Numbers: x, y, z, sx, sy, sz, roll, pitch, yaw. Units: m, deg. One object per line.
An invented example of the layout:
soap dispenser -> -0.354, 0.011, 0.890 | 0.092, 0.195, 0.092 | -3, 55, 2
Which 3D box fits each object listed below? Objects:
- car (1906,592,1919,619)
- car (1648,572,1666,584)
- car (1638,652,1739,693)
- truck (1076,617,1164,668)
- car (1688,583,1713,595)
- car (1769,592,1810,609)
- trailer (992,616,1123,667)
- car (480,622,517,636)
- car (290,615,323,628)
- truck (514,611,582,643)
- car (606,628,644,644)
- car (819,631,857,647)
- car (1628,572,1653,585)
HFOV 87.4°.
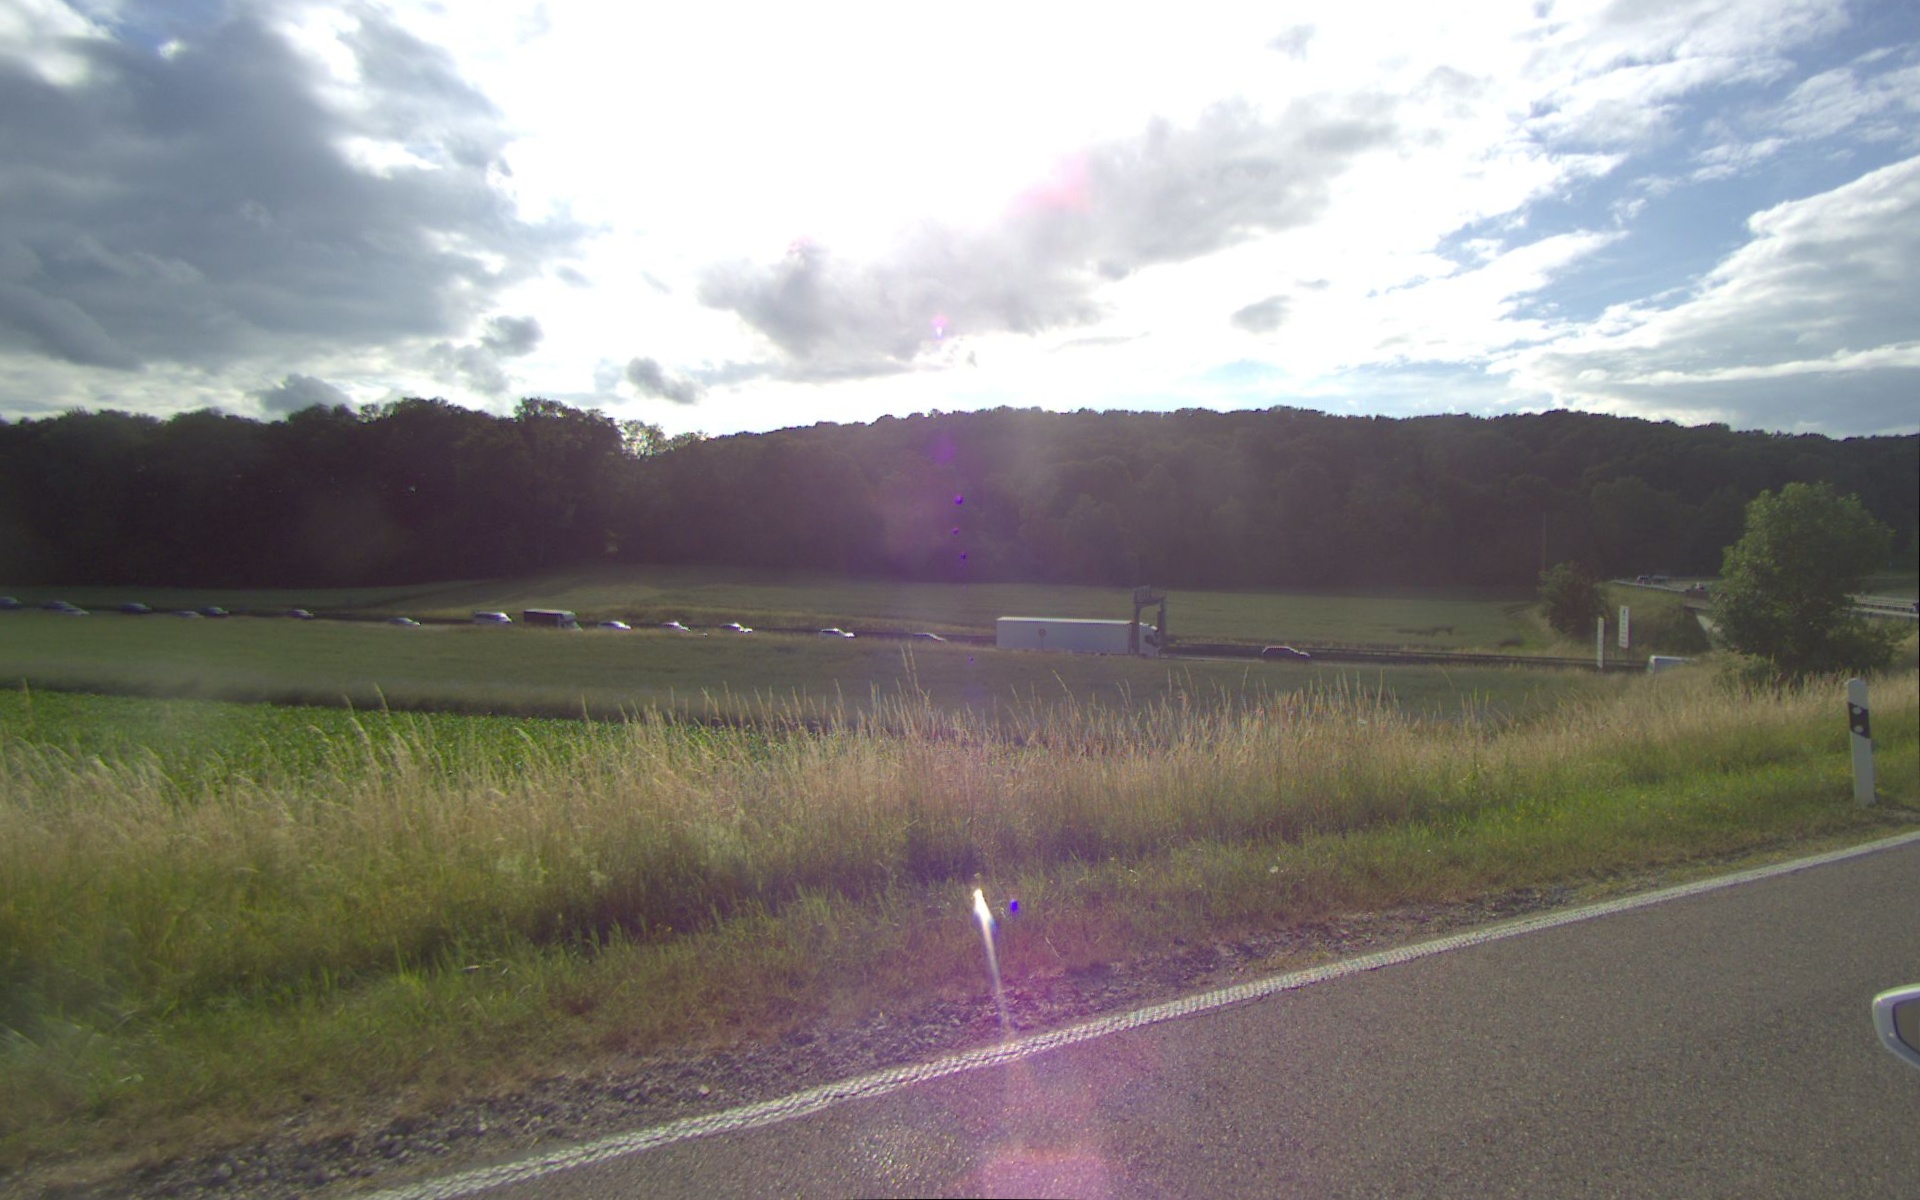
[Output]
car -> 57.791, 0.363, 59.324 | 1.834, 1.590, 3.992 | 2, 2, 30
car -> 119.726, -3.761, 172.574 | 1.963, 1.795, 3.995 | -3, -1, 27
car -> 57.029, 5.633, 78.811 | 6.010, 2.620, 2.369 | 0, 6, 28
truck -> 15.503, 4.040, 97.297 | 7.898, 4.530, 3.028 | 0, 5, 21
car -> 79.260, -1.132, 107.565 | 1.448, 1.243, 3.297 | 1, 1, 23
car -> 70.873, 0.020, 85.870 | 1.655, 1.395, 3.997 | 1, 2, 23
trailer -> 9.616, 4.025, 99.538 | 12.478, 4.530, 3.030 | 0, 5, 21
car -> -59.778, 3.744, 130.105 | 3.920, 1.750, 2.001 | 1, -2, 19
car -> -90.789, 2.913, 139.530 | 3.920, 1.608, 1.803 | 2, 1, 19
truck -> -49.602, 3.238, 120.790 | 8.333, 3.451, 2.122 | -2, 0, 23
car -> -41.105, 4.425, 123.365 | 3.920, 1.750, 2.001 | 1, -2, 19
car -> -13.860, 4.479, 114.130 | 3.922, 1.672, 1.828 | -2, 1, 21
car -> 98.794, -3.093, 145.876 | 1.961, 1.701, 4.177 | 4, 2, 21
